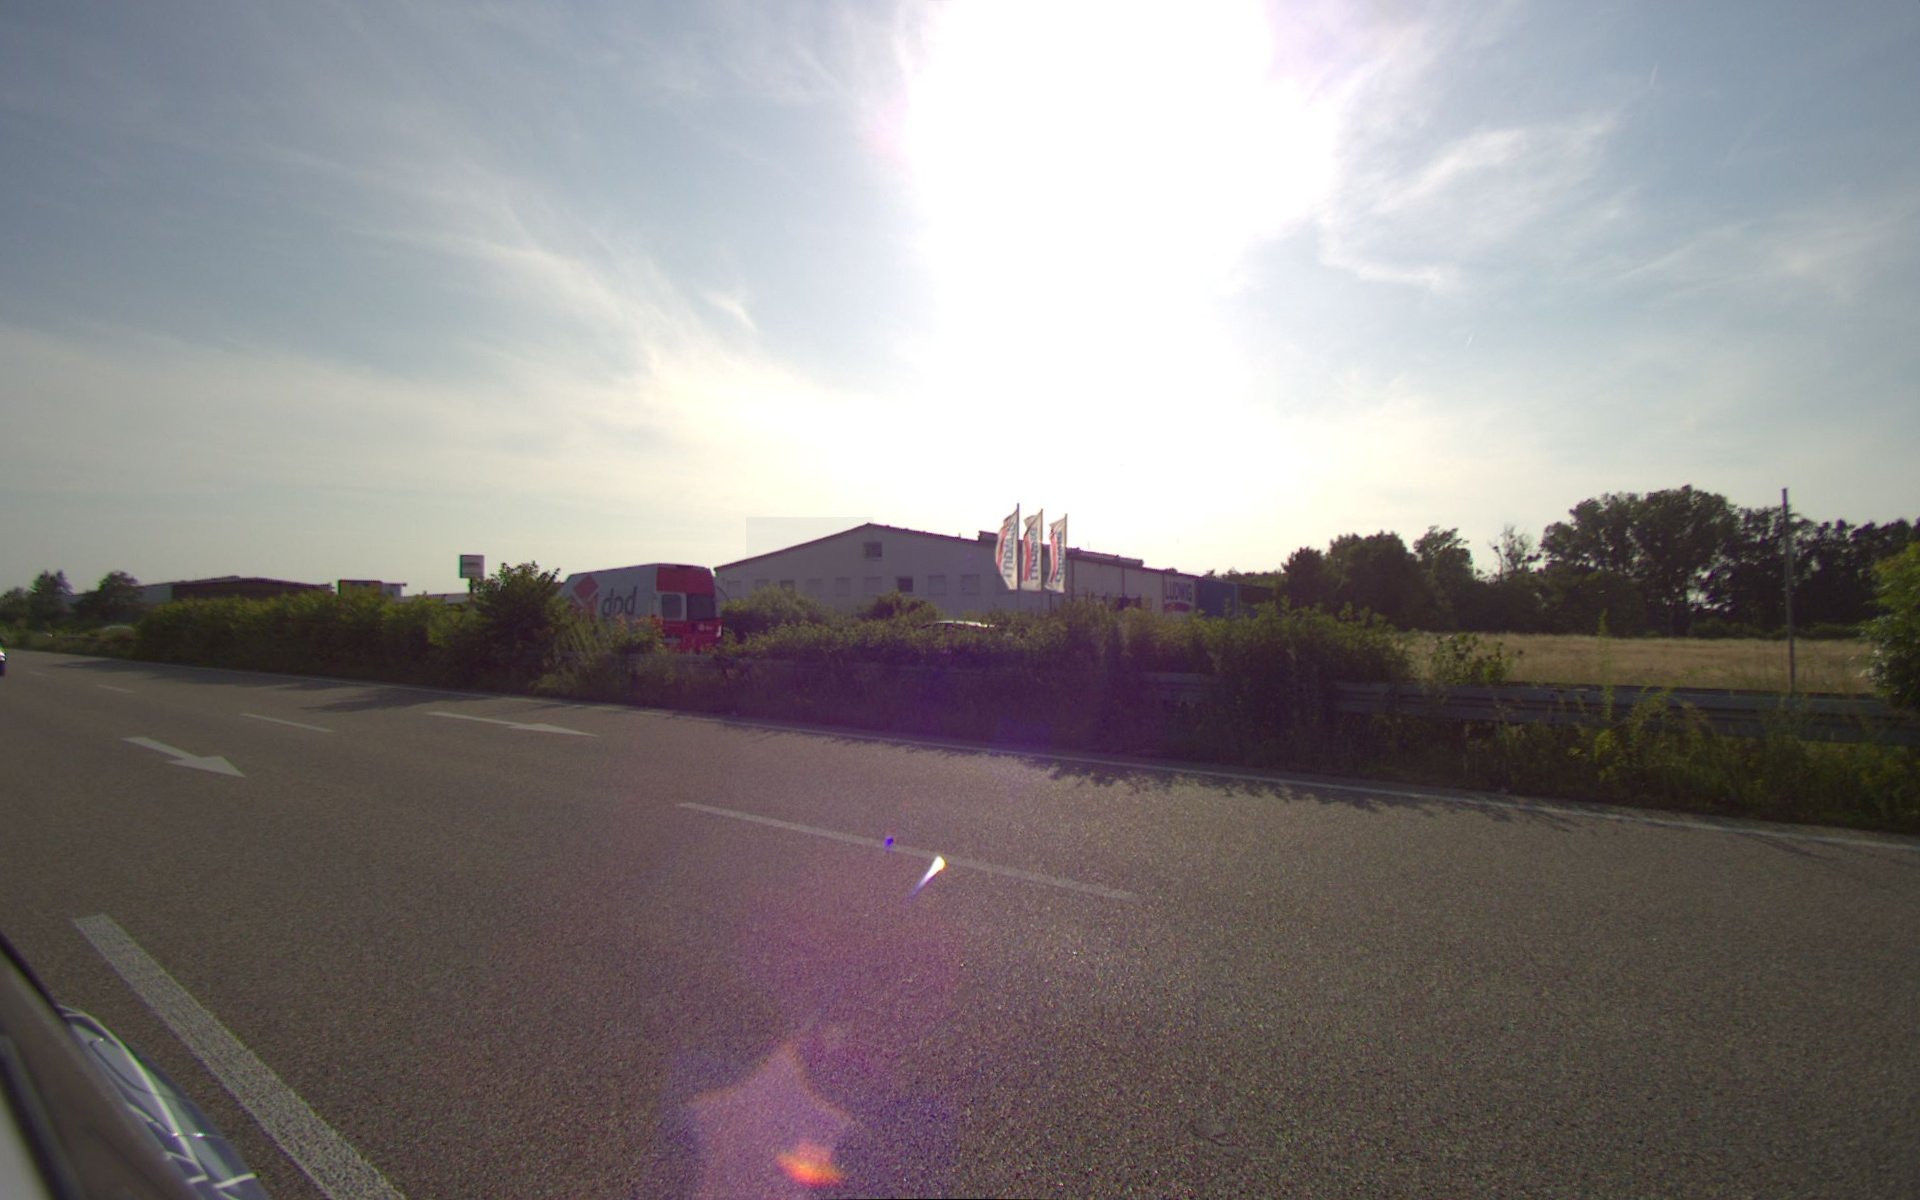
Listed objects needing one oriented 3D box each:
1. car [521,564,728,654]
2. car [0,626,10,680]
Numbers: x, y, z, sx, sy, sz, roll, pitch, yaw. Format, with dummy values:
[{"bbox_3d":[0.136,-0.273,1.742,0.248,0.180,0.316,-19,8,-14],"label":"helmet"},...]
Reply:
[{"bbox_3d":[-8.755,0.228,26.044,6.319,2.050,2.139,-1,0,41],"label":"car"},{"bbox_3d":[-28.472,1.511,28.805,3.420,1.519,1.735,-2,-2,41],"label":"car"}]
